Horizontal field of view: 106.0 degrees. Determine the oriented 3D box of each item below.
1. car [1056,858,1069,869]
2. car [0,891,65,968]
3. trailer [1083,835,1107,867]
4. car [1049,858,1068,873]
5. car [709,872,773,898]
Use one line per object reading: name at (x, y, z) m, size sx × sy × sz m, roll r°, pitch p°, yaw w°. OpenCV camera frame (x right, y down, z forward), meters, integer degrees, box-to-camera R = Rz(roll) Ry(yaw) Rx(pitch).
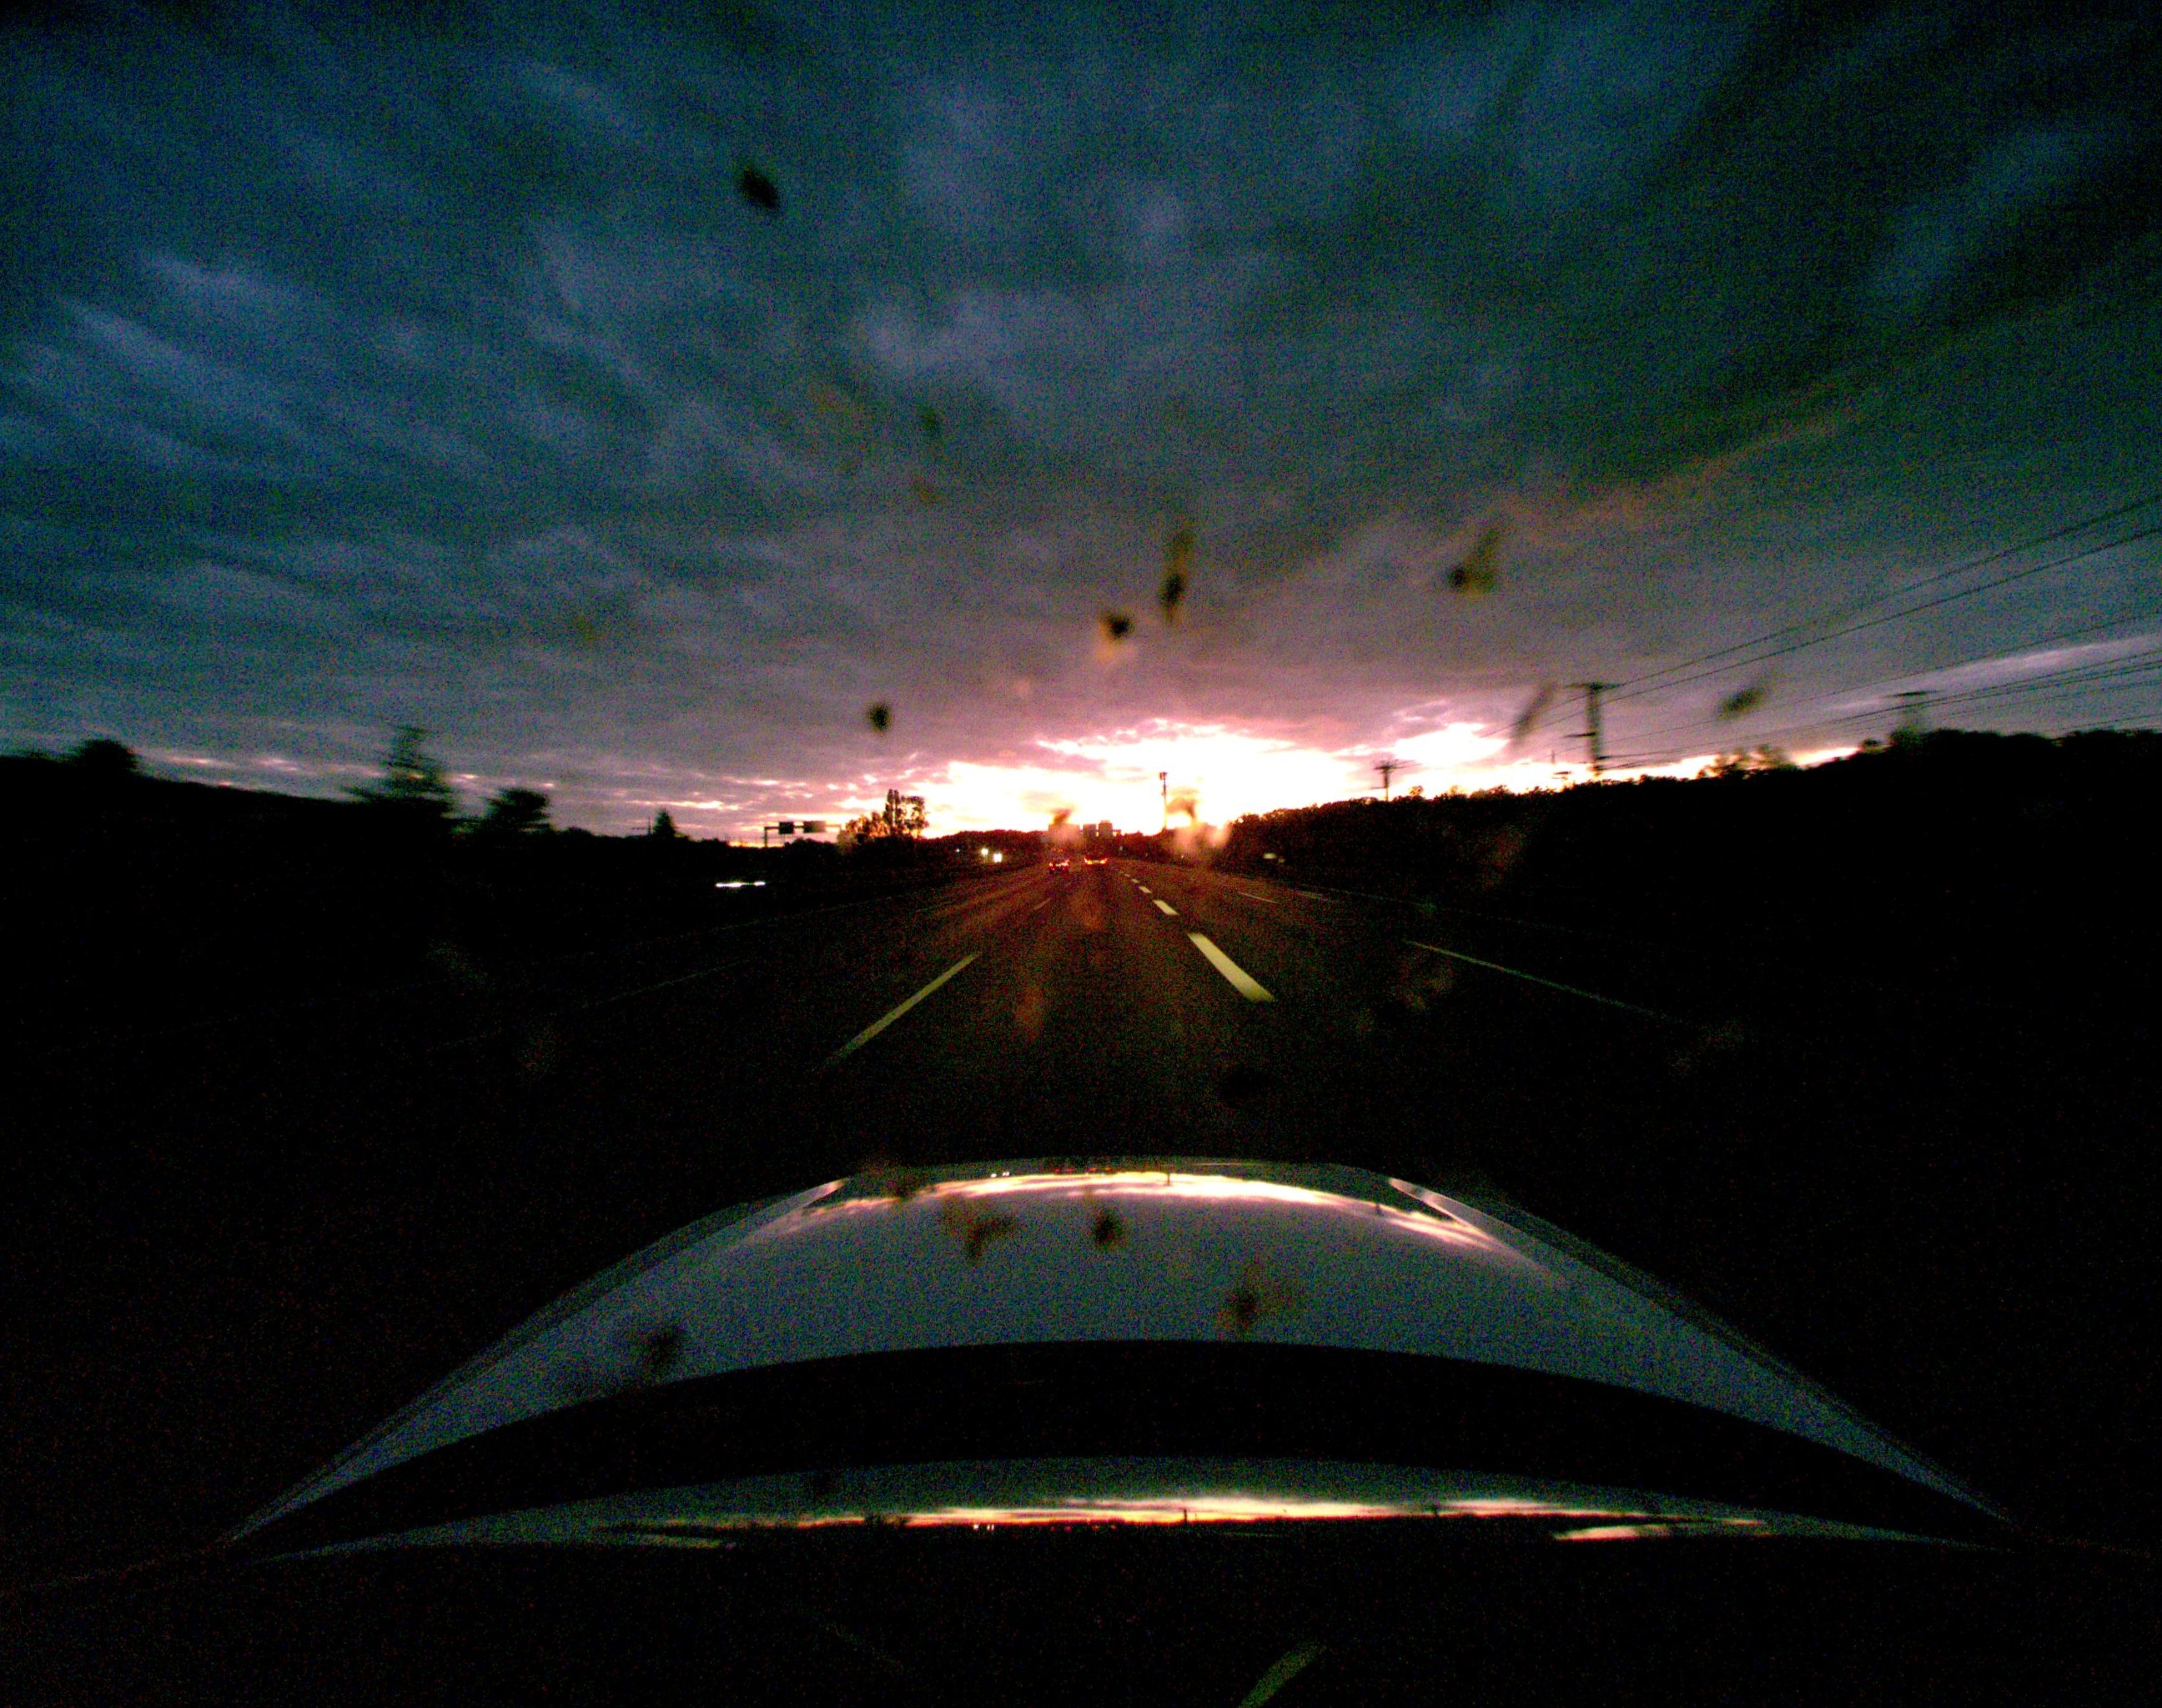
car at (-2.591, 1.422, 117.189) m, size 1.684 × 1.401 × 3.408 m, roll -4°, pitch -1°, yaw 0°
car at (-20.839, 1.367, 13.746) m, size 1.683 × 1.401 × 4.430 m, roll 1°, pitch -2°, yaw 2°
trailer at (1.858, -0.435, 111.436) m, size 2.714 × 4.071 × 8.827 m, roll -3°, pitch 1°, yaw -1°
car at (-2.205, 1.130, 79.742) m, size 1.685 × 1.401 × 3.406 m, roll -3°, pitch -1°, yaw -2°
car at (-19.292, 1.759, 46.423) m, size 1.683 × 1.401 × 4.430 m, roll 1°, pitch -2°, yaw 2°
